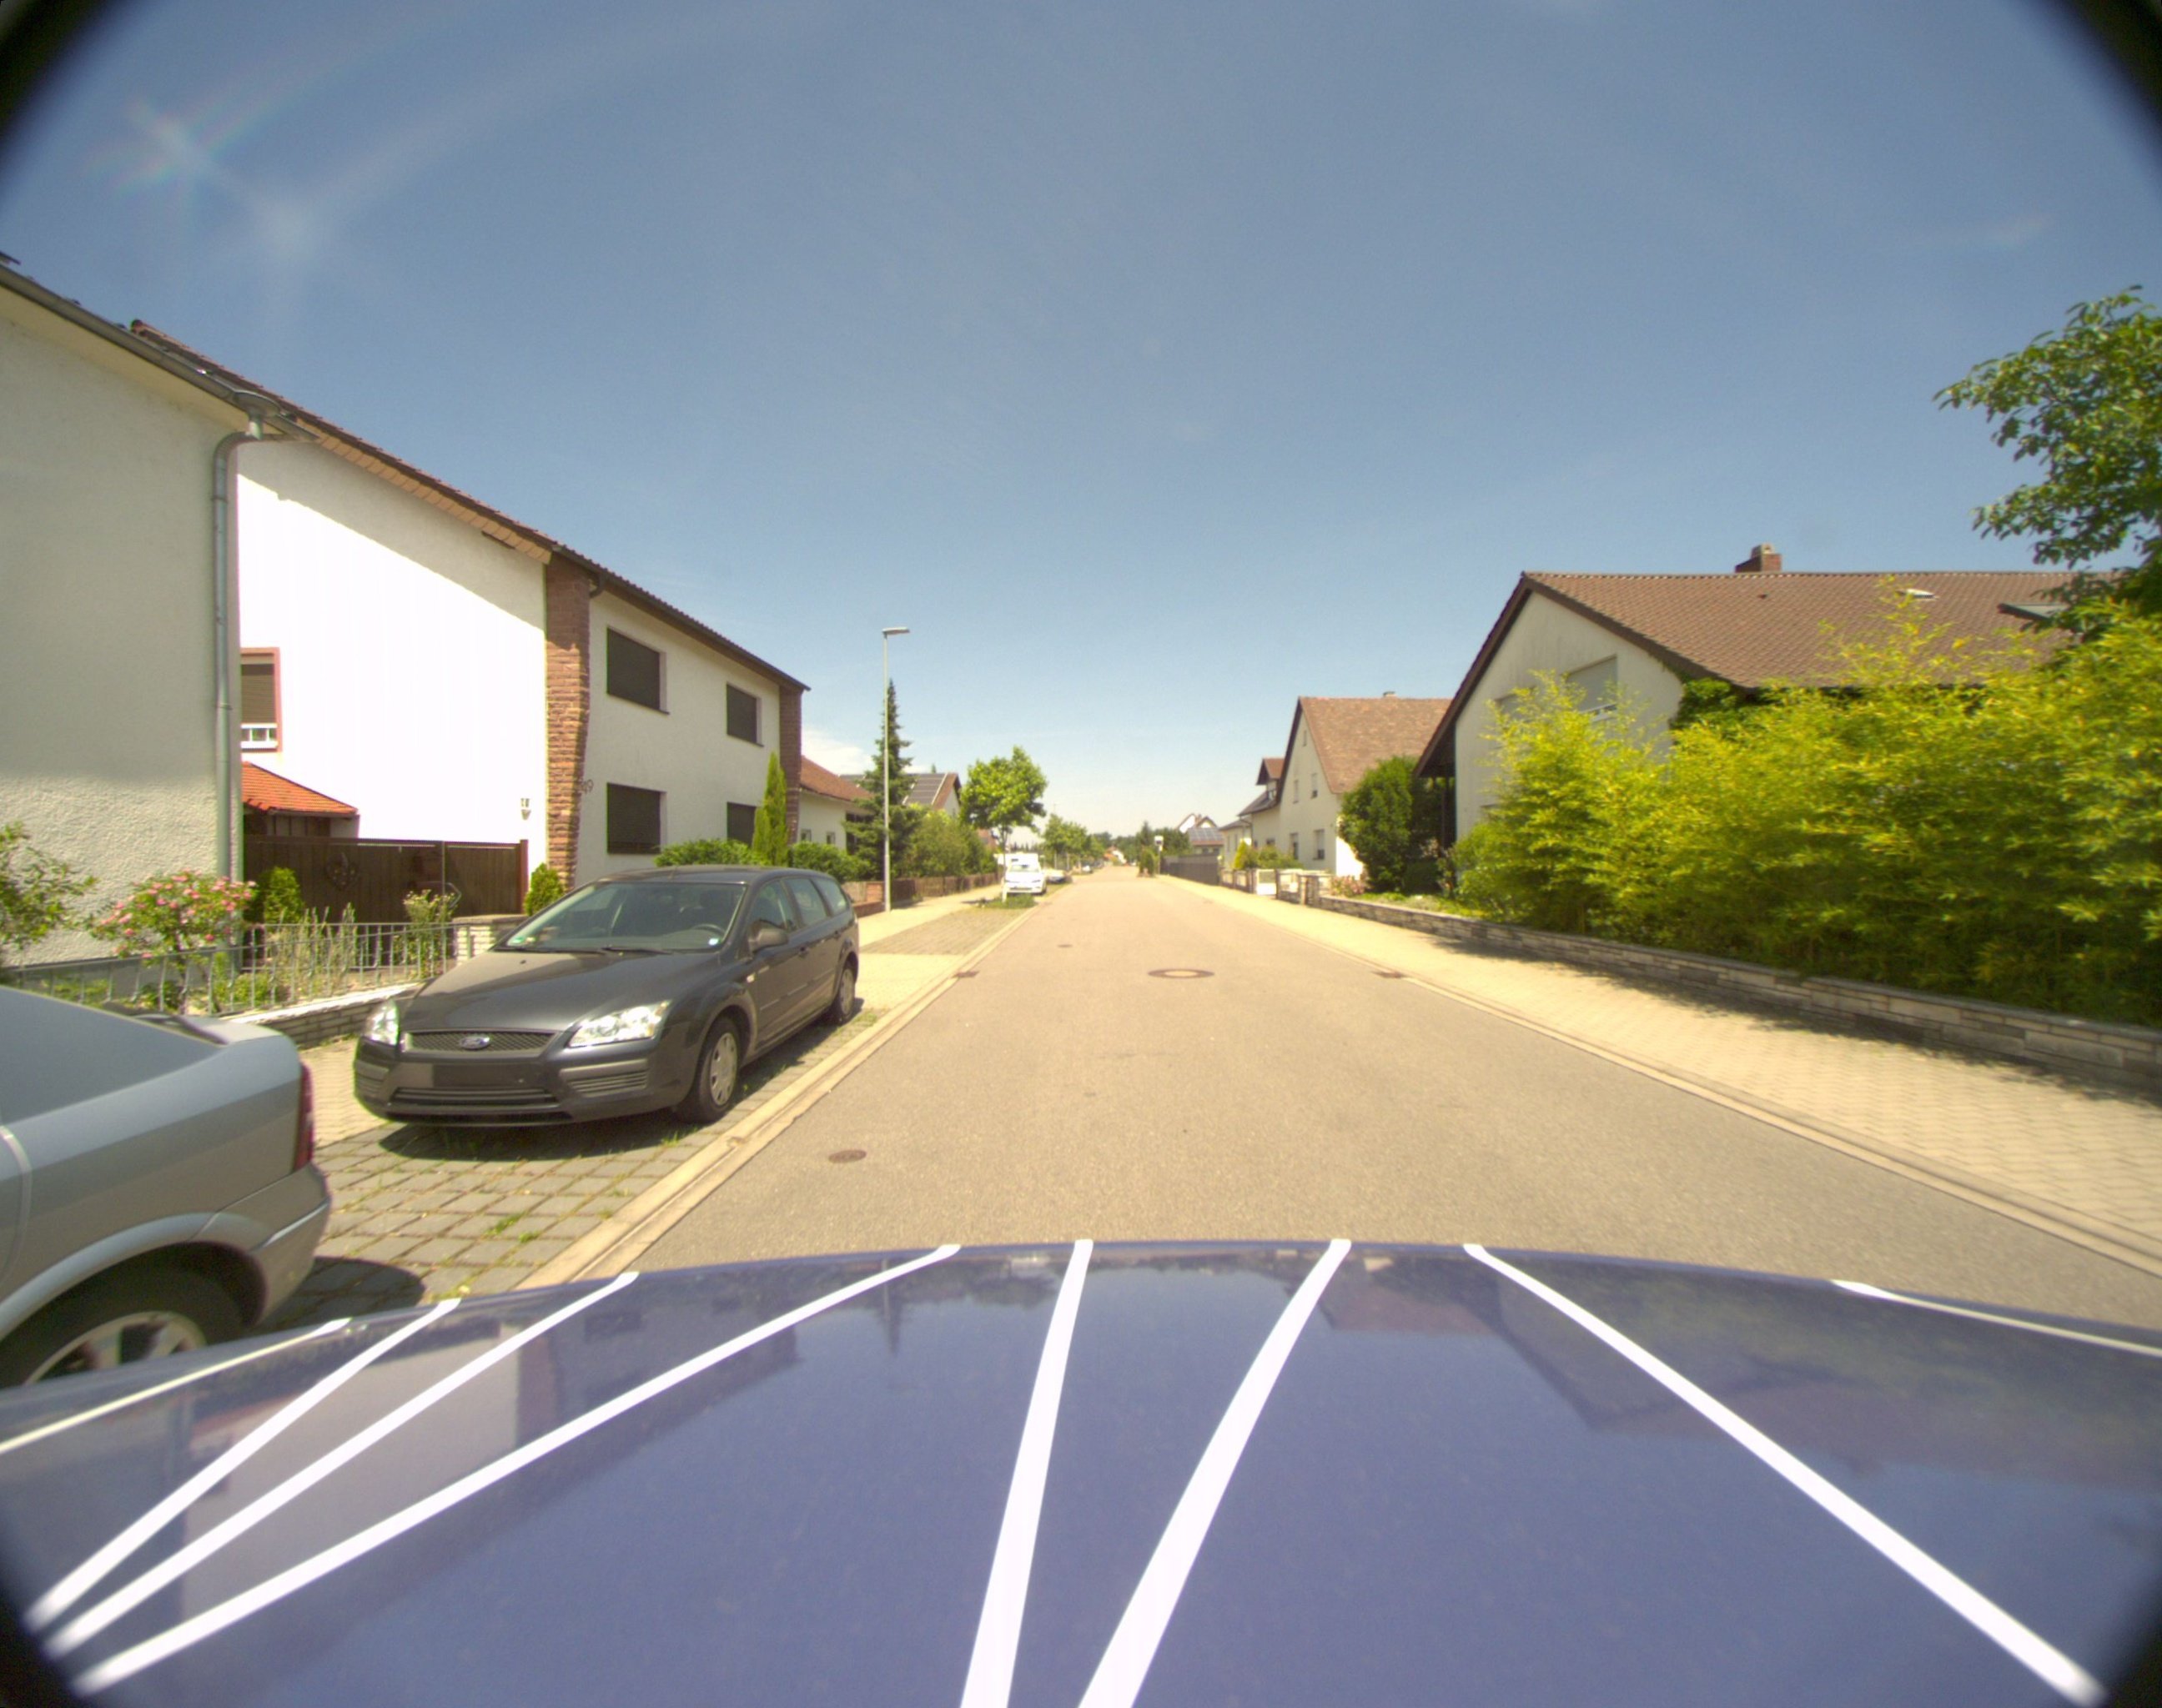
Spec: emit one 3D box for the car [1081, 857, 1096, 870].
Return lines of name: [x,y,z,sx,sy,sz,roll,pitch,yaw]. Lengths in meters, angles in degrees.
car: [1.002,1.243,101.143,1.597,1.630,3.804,0,0,5]

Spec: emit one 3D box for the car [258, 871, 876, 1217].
car: [-3.021,0.945,5.813,1.746,1.524,4.448,0,0,-1]

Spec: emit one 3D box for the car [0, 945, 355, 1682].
car: [-3.145,0.971,0.245,1.819,1.411,4.093,0,0,2]

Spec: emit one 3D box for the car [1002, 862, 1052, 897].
car: [-2.299,1.088,33.170,1.819,1.411,3.868,0,0,1]

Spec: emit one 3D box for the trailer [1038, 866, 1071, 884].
trailer: [-1.642,1.314,47.982,1.792,1.052,2.899,0,0,3]
